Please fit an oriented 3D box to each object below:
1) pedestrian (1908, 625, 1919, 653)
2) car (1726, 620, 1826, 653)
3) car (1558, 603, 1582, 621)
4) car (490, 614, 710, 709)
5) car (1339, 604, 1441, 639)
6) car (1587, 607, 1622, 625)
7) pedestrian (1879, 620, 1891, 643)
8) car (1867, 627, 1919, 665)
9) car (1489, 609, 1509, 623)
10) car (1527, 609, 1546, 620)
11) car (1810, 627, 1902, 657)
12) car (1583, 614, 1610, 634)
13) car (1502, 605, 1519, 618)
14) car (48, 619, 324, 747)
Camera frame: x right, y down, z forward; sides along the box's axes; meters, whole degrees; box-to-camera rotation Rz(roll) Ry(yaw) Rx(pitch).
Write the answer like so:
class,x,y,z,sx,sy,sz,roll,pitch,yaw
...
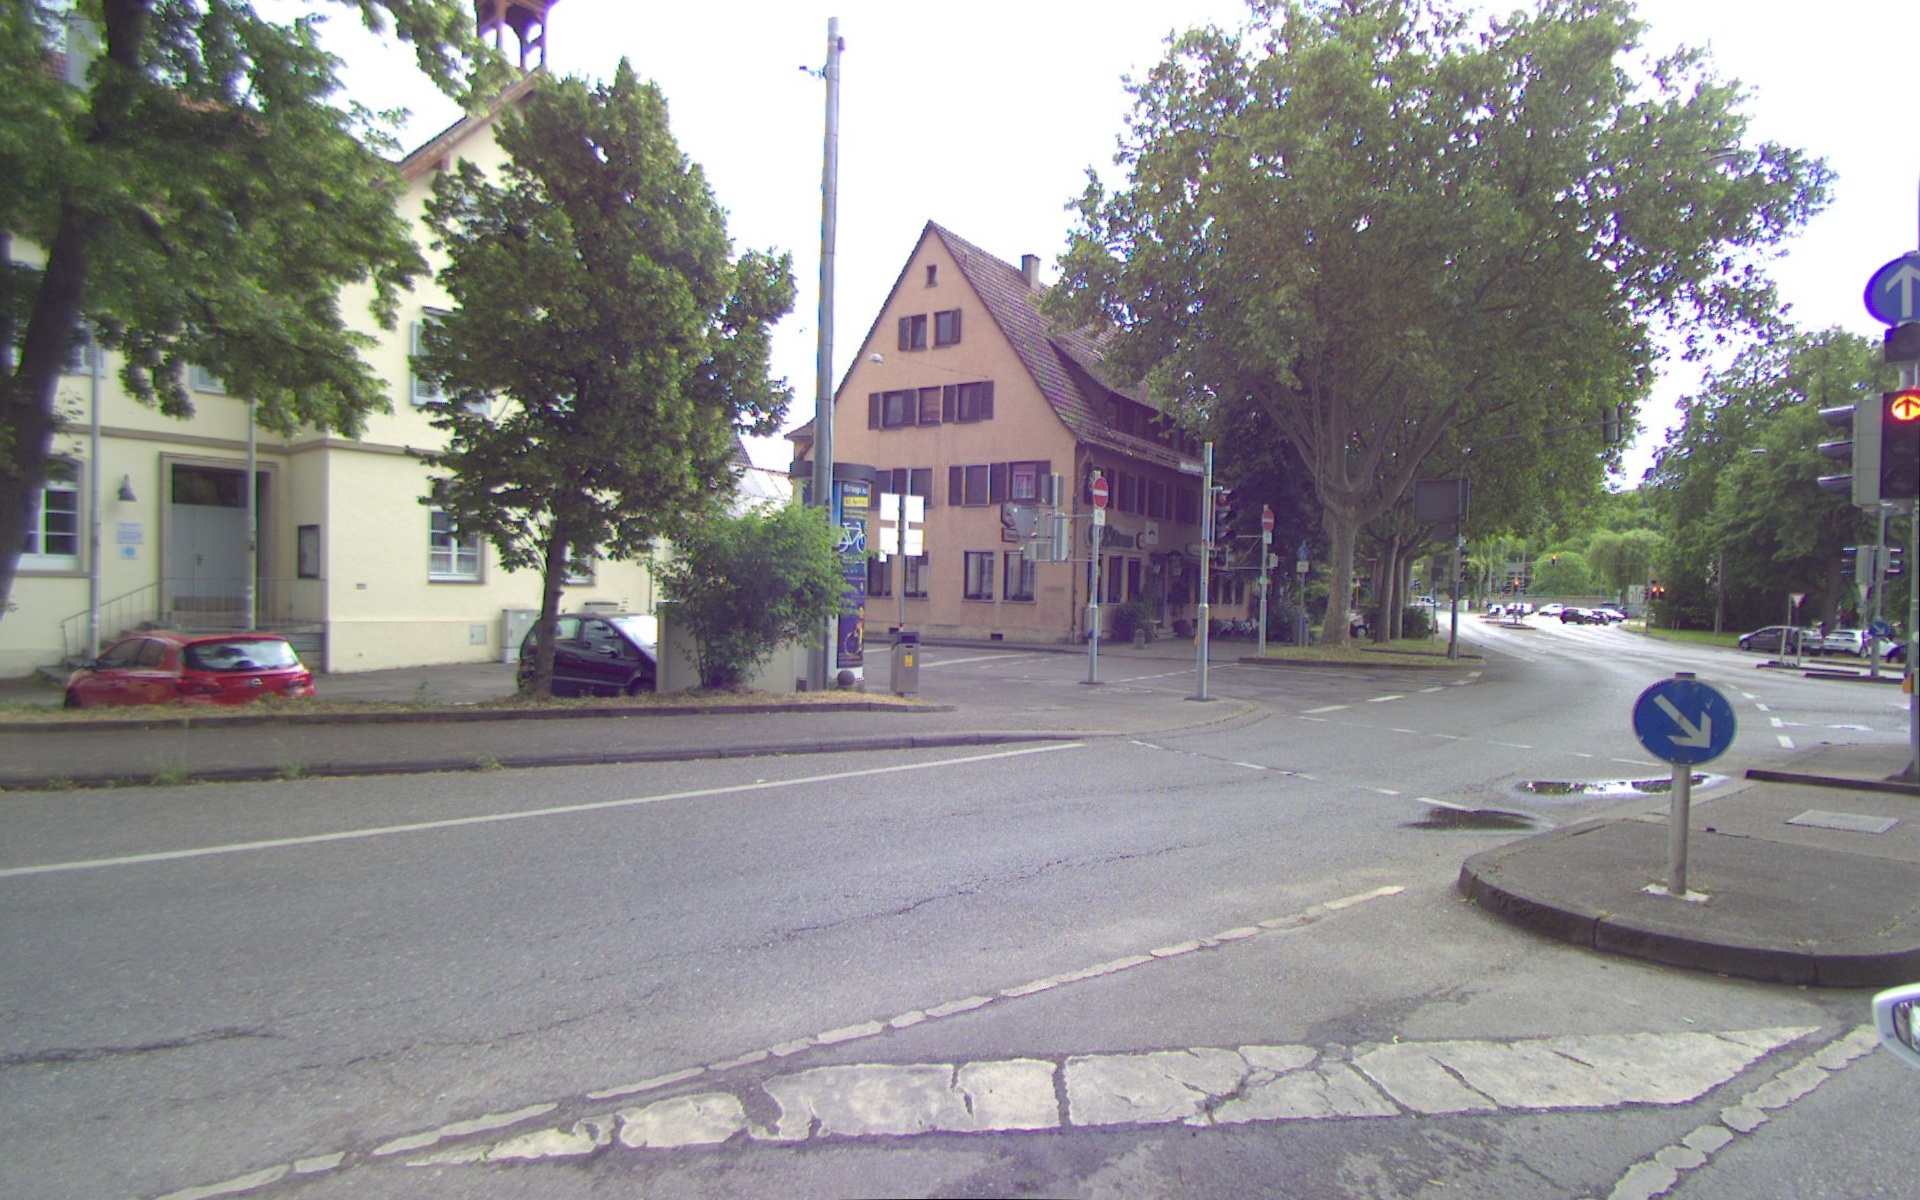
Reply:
class,x,y,z,sx,sy,sz,roll,pitch,yaw
pedestrian,53.603,2.179,56.168,0.673,1.572,0.741,2,1,29
car,43.917,1.957,54.191,1.701,1.448,4.106,2,2,-7
car,56.241,1.105,92.636,1.796,1.529,4.565,1,0,30
car,-5.952,0.949,16.583,3.335,1.327,1.482,2,0,25
car,25.013,1.238,58.640,5.137,1.957,2.085,0,0,11
car,77.276,1.877,120.440,3.307,2.040,1.681,2,0,41
pedestrian,63.284,2.169,68.709,0.504,1.552,0.775,3,1,38
car,39.382,1.901,40.936,1.542,1.423,3.493,2,1,-1
car,67.940,2.056,126.584,1.739,1.485,4.010,8,4,34
car,90.373,2.285,157.411,1.968,1.677,4.410,2,1,36
car,47.571,2.215,53.348,4.194,1.399,1.758,2,1,-18
car,63.954,2.378,100.873,1.967,1.951,3.986,2,0,36
car,76.713,1.599,139.898,1.771,1.608,4.403,0,1,33
car,-10.251,1.001,13.272,3.564,1.371,1.597,2,0,29
